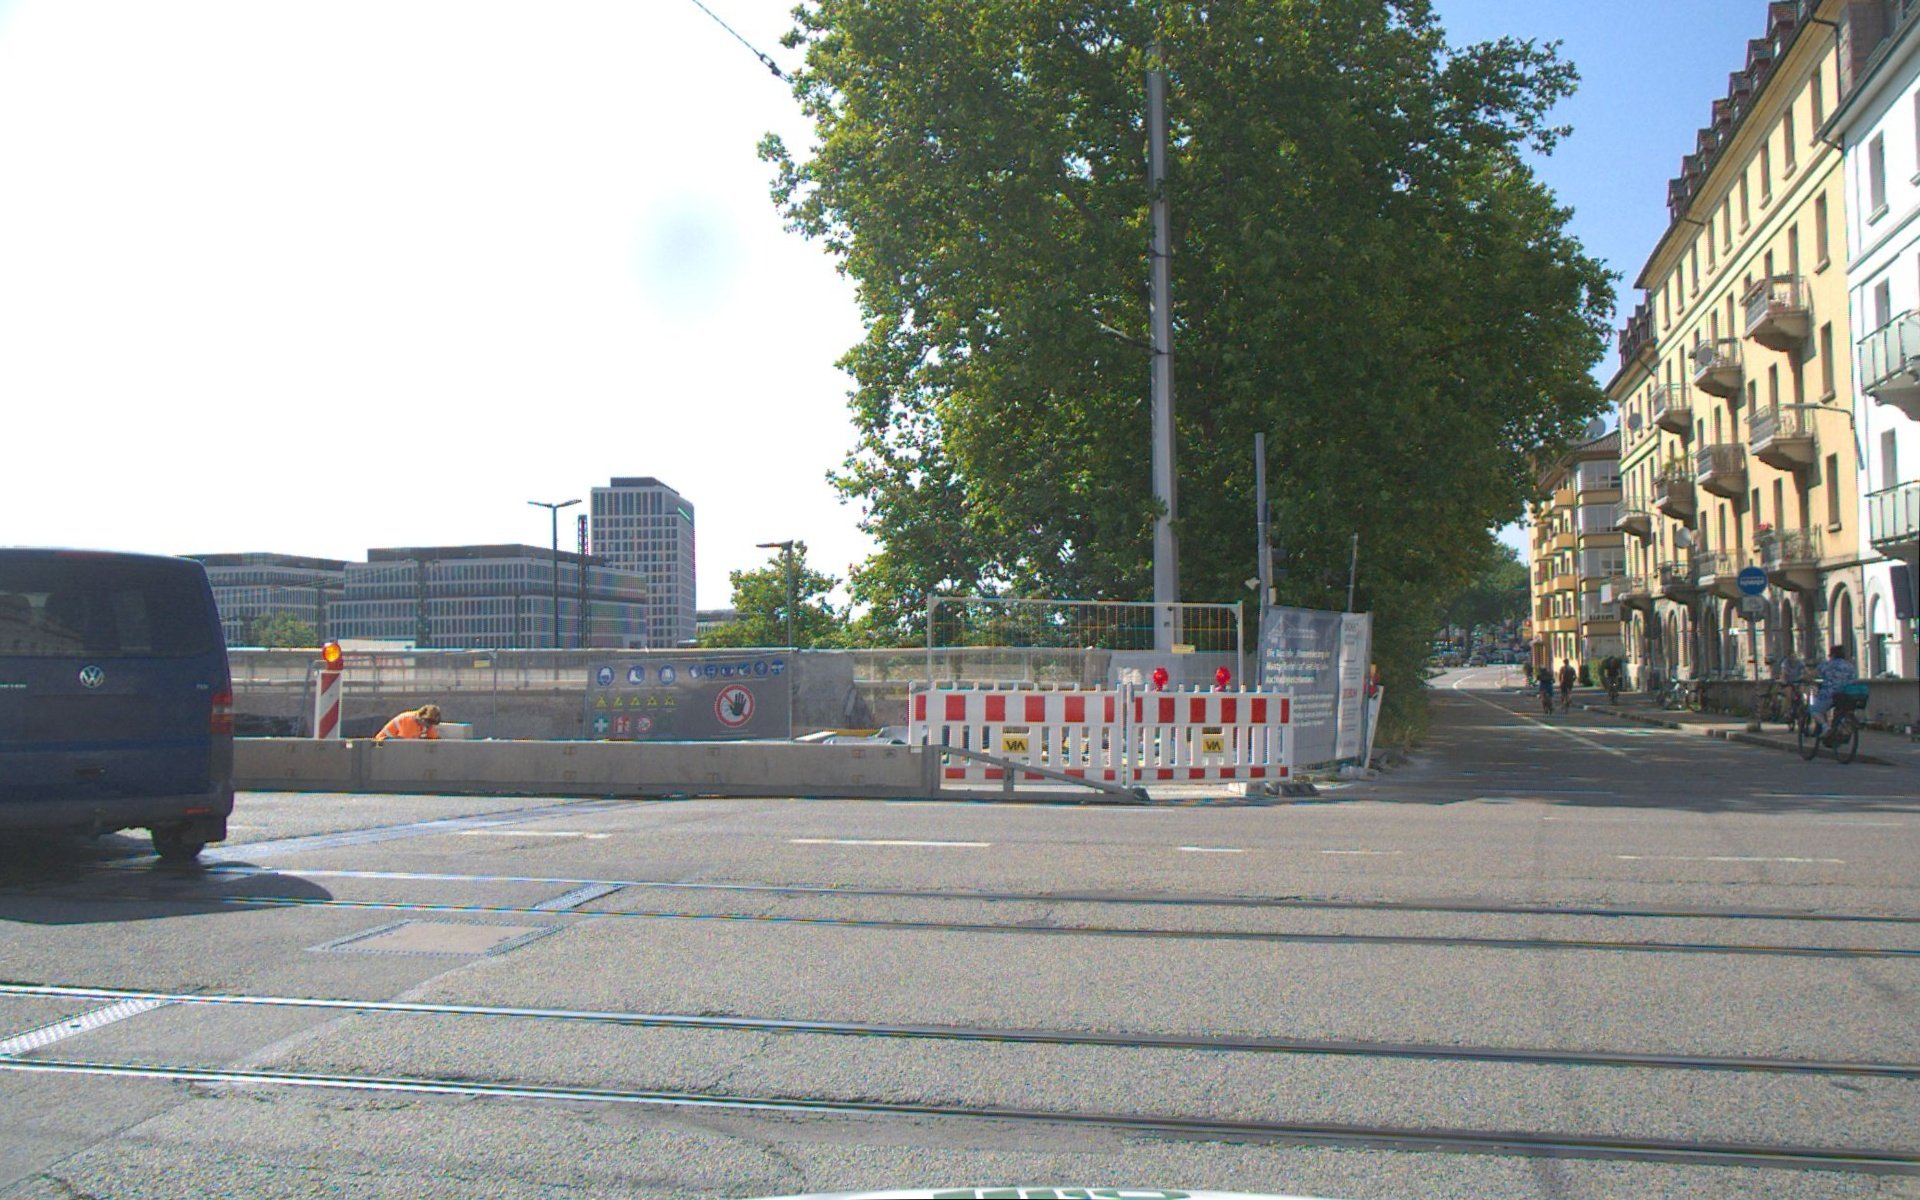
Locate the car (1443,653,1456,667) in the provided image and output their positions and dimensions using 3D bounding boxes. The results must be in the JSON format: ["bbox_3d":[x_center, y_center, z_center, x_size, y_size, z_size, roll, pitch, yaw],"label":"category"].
[{"bbox_3d":[62.259,7.617,210.381,1.591,1.651,3.698,0,-1,15],"label":"car"}]

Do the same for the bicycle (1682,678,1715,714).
[{"bbox_3d":[23.336,3.025,52.297,0.666,1.094,2.293,-1,-2,17],"label":"bicycle"}]

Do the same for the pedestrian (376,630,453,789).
[{"bbox_3d":[-6.530,1.285,19.825,0.848,1.826,0.817,0,0,-18],"label":"pedestrian"}]

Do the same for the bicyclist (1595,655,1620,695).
[{"bbox_3d":[25.646,2.955,65.511,0.820,1.565,1.024,-1,-3,18],"label":"bicyclist"}]

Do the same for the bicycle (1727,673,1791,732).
[{"bbox_3d":[16.552,2.094,34.310,0.820,1.157,2.859,-1,-2,18],"label":"bicycle"}]

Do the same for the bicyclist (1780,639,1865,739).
[{"bbox_3d":[12.778,1.310,24.544,0.847,1.440,0.918,0,-2,9],"label":"bicyclist"}]

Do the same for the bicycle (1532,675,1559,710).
[{"bbox_3d":[19.916,3.130,56.286,0.820,1.157,2.859,-1,-2,19],"label":"bicycle"}]

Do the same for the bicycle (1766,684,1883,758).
[{"bbox_3d":[12.778,1.766,24.523,0.847,1.007,2.248,0,-2,9],"label":"bicycle"}]

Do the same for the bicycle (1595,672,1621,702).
[{"bbox_3d":[25.679,3.428,65.592,0.820,1.157,2.859,-1,-2,19],"label":"bicycle"}]

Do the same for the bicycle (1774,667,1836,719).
[{"bbox_3d":[19.580,2.142,38.381,0.820,1.157,2.859,-1,-2,18],"label":"bicycle"}]

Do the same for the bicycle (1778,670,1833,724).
[{"bbox_3d":[17.326,1.980,33.923,0.693,1.008,1.820,-3,-2,19],"label":"bicycle"}]

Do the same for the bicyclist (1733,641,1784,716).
[{"bbox_3d":[16.522,1.616,34.236,0.820,1.534,0.953,-1,-3,18],"label":"bicyclist"}]

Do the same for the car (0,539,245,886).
[{"bbox_3d":[-6.408,0.651,11.004,1.807,1.939,3.989,0,-1,-43],"label":"car"}]

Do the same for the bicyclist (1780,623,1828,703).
[{"bbox_3d":[17.249,1.283,33.831,0.693,1.577,0.784,-3,-2,20],"label":"bicyclist"}]

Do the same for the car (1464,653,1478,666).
[{"bbox_3d":[64.881,7.549,209.957,1.591,1.651,3.698,0,-1,15],"label":"car"}]

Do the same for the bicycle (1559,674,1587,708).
[{"bbox_3d":[21.546,3.180,58.196,0.820,1.157,2.859,-1,-2,19],"label":"bicycle"}]

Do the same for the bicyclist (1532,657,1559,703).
[{"bbox_3d":[19.909,2.718,56.260,0.820,1.565,1.024,-1,-3,18],"label":"bicyclist"}]

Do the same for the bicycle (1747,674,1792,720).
[{"bbox_3d":[20.610,2.463,42.151,0.666,1.094,2.293,-1,-2,17],"label":"bicycle"}]

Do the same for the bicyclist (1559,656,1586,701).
[{"bbox_3d":[21.572,2.771,58.277,0.820,1.565,1.024,-1,-3,18],"label":"bicyclist"}]

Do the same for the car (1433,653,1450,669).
[{"bbox_3d":[51.721,6.557,177.672,1.591,1.651,3.698,0,-1,15],"label":"car"}]
